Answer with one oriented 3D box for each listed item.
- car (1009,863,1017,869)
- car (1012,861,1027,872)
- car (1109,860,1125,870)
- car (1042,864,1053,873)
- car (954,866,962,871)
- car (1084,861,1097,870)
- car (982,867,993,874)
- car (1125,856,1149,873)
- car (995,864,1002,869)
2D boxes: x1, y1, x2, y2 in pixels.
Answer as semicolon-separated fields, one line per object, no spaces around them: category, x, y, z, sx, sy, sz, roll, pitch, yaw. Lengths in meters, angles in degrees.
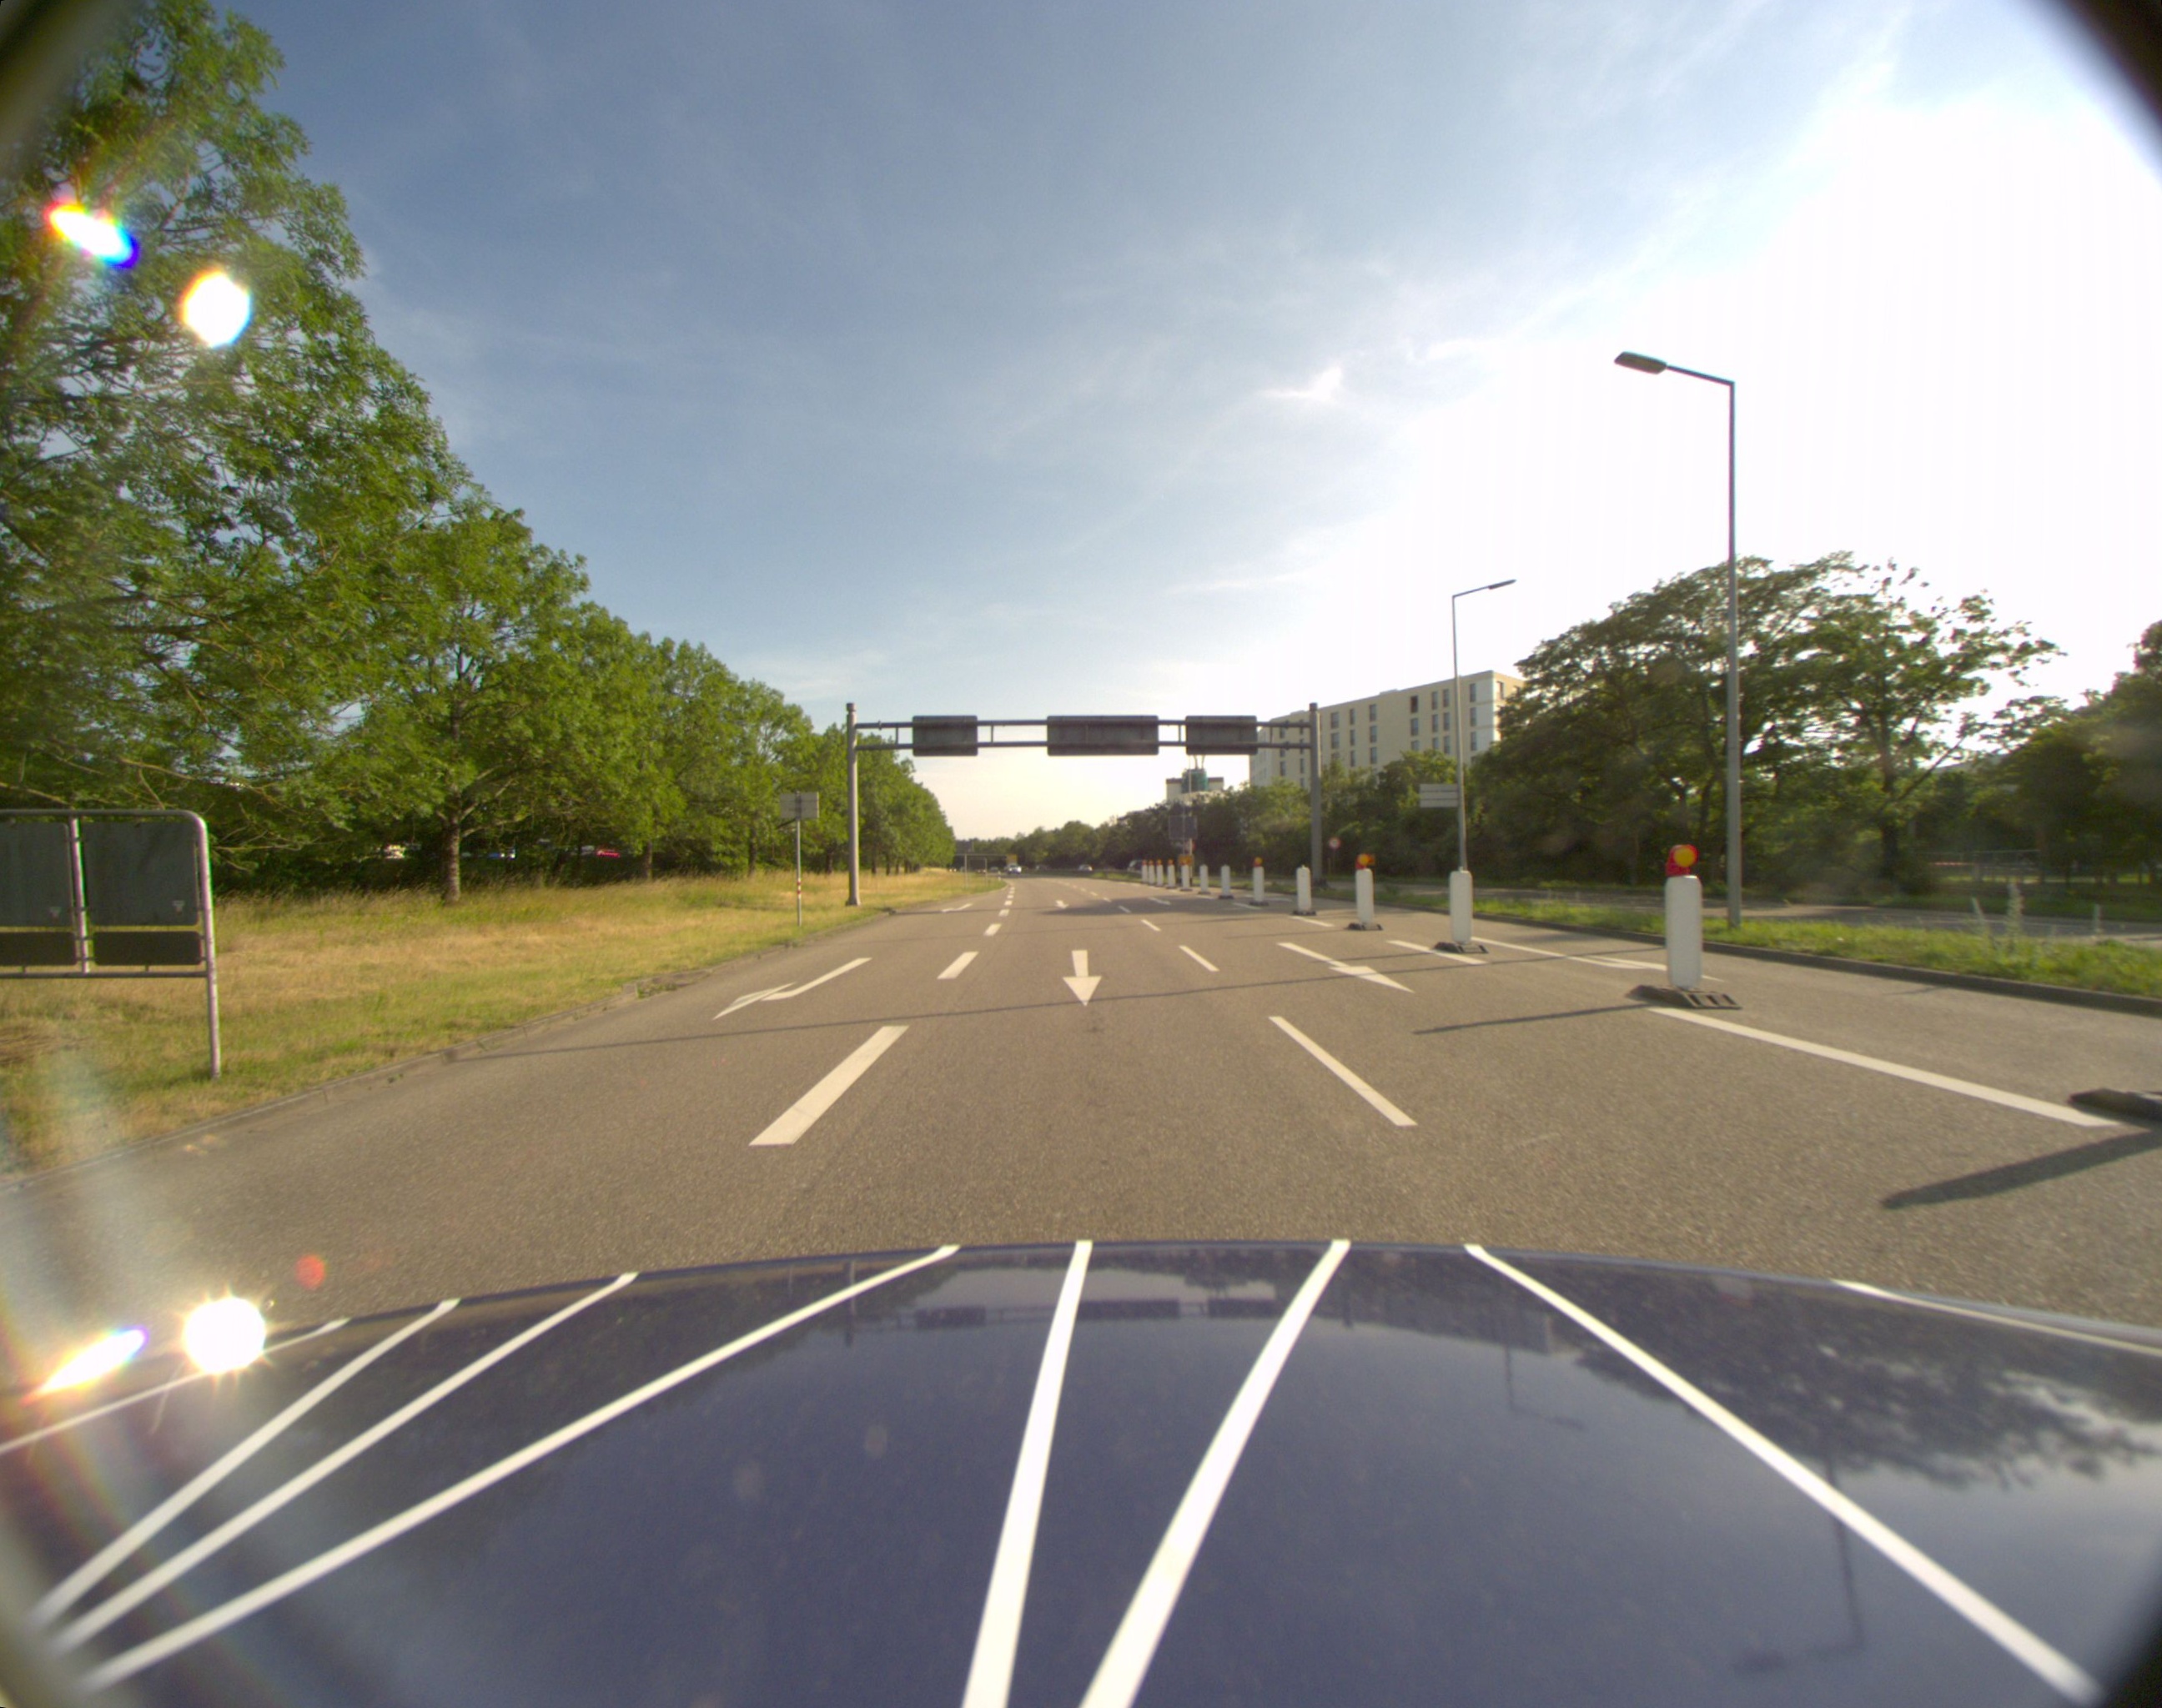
car;-17.120;2.919;191.330;1.608;1.433;3.232;-3;0;-12
car;-10.669;2.109;130.797;1.903;1.813;4.351;-3;0;-13
car;4.498;1.352;95.369;1.516;1.151;3.670;-2;0;-6
car;-6.695;2.829;150.483;1.736;1.602;3.522;-3;0;-8
car;-37.138;4.314;228.703;1.897;1.447;3.903;-1;0;-17
car;1.686;2.013;132.637;1.645;1.368;4.061;-2;0;-8
car;-19.061;3.393;154.794;1.903;1.377;4.351;-3;0;-13
car;6.083;1.103;82.943;1.790;1.796;4.121;-1;0;-6
car;-24.994;3.693;230.463;1.609;1.432;3.232;-3;0;-15
